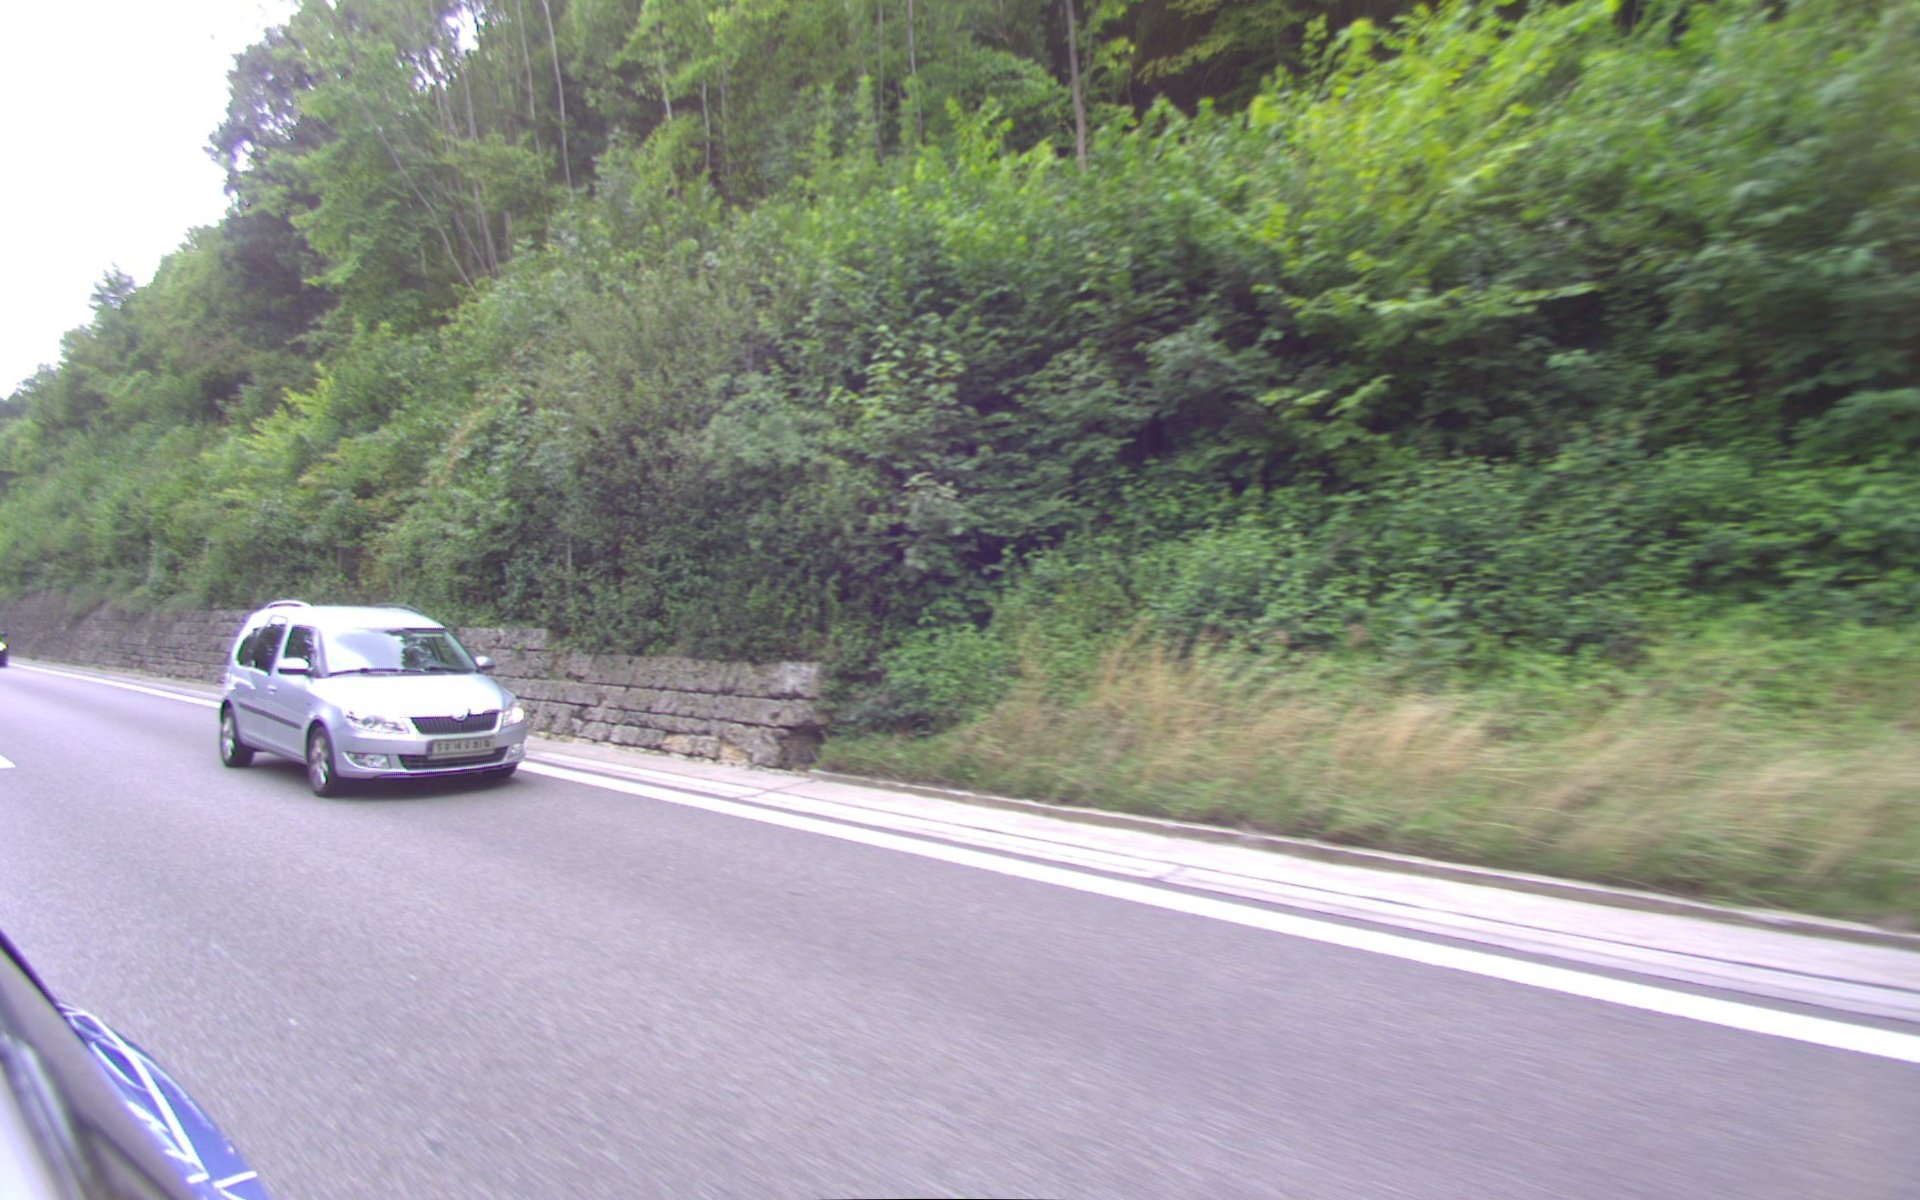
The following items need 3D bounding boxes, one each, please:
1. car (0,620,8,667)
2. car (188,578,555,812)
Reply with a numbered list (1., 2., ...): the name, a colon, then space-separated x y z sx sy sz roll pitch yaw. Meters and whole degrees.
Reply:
1. car: -32.451 1.388 32.896 5.122 1.475 1.741 -2 -5 43
2. car: -5.711 0.781 9.580 4.342 1.740 1.617 -1 -4 41
